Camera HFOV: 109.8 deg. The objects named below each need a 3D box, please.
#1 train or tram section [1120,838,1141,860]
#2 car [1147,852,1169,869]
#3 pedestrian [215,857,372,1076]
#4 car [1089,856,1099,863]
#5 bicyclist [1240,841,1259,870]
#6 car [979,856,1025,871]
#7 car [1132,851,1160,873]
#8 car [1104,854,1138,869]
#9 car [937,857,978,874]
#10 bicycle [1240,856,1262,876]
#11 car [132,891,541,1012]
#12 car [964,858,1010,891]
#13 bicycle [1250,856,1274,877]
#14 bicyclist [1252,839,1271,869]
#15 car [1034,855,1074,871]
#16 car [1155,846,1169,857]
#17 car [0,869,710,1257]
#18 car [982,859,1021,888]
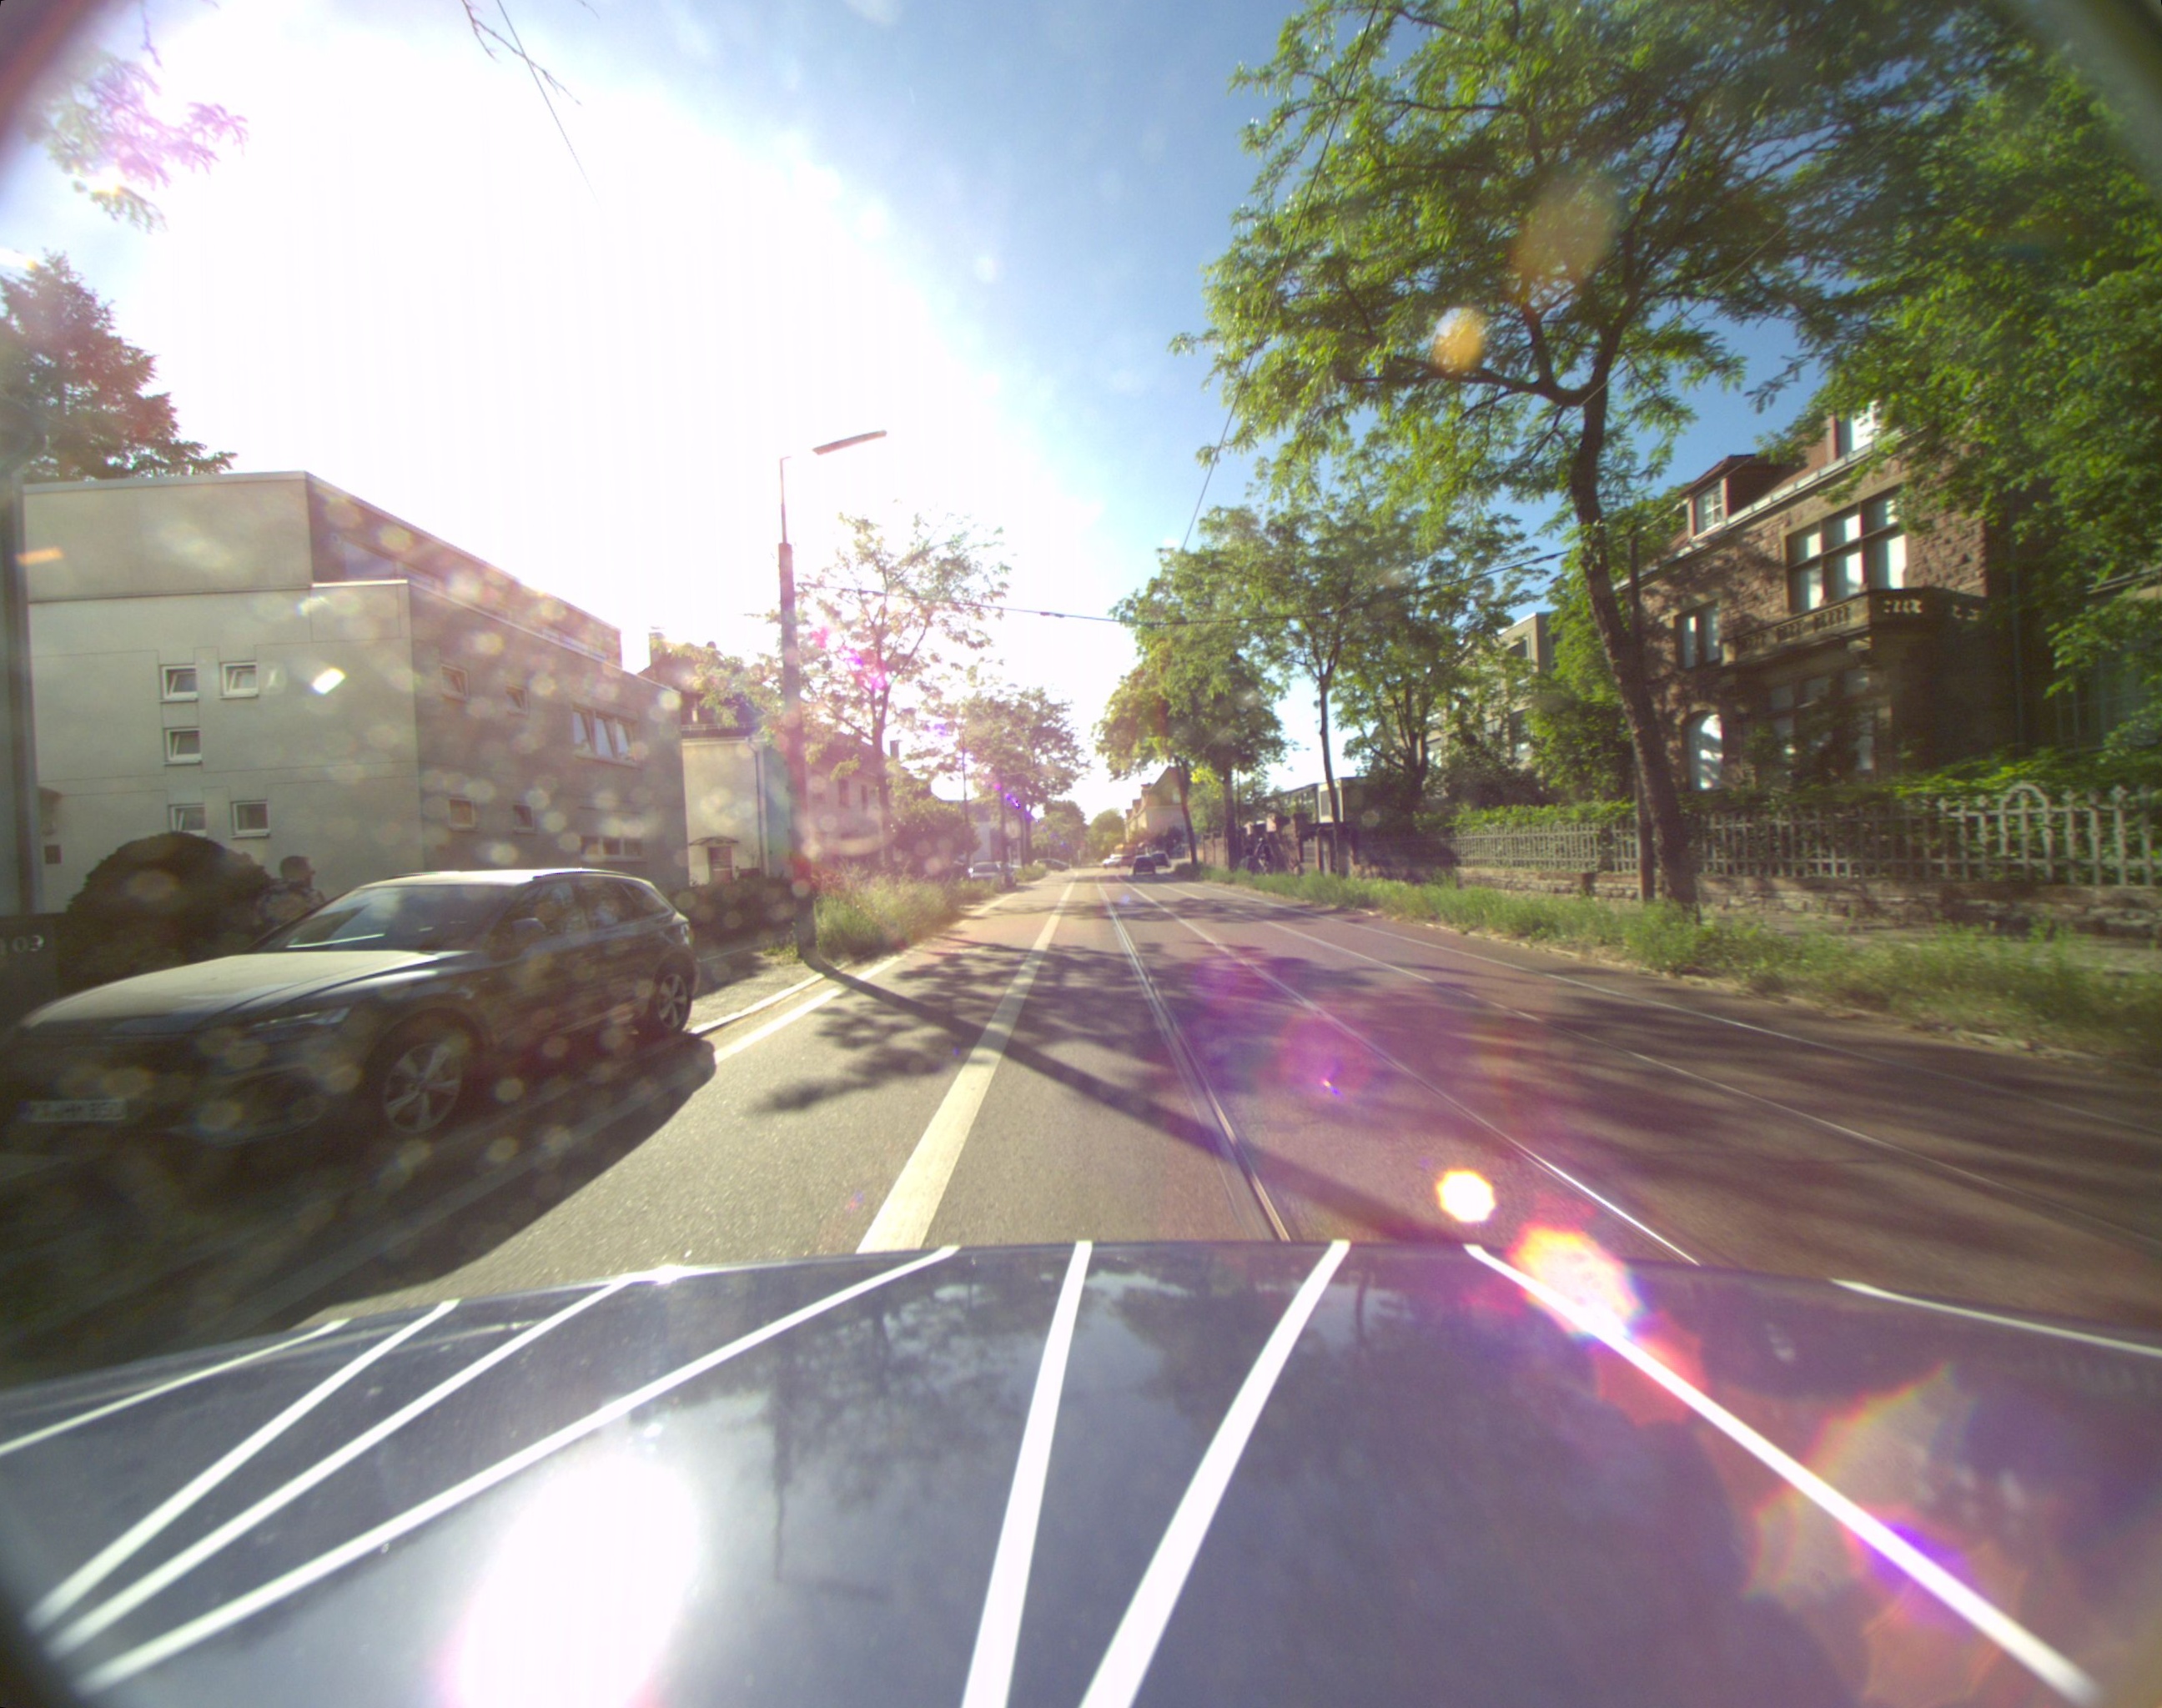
[{"bbox_3d":[8.153,-0.796,125.686,2.811,3.439,6.668,-3,0,1],"label":"train or tram section"},{"bbox_3d":[7.674,0.608,75.613,1.753,1.515,4.035,-3,0,0],"label":"car"},{"bbox_3d":[-7.039,0.960,6.829,0.627,1.859,0.732,0,1,0],"label":"pedestrian"},{"bbox_3d":[3.125,1.328,178.970,1.743,1.450,3.691,-3,0,-8],"label":"car"},{"bbox_3d":[9.119,0.062,41.092,0.711,1.490,0.956,-5,1,1],"label":"bicyclist"},{"bbox_3d":[-8.864,1.070,85.080,4.610,1.458,1.983,-3,2,12],"label":"car"},{"bbox_3d":[4.896,0.595,57.848,1.753,1.515,4.070,-3,0,0],"label":"car"},{"bbox_3d":[4.348,0.828,84.047,2.002,1.515,4.572,-3,0,-21],"label":"car"},{"bbox_3d":[-13.488,1.269,83.202,4.173,1.632,1.982,-3,0,-1],"label":"car"},{"bbox_3d":[9.172,0.614,41.106,0.720,0.968,1.888,-5,1,1],"label":"bicycle"},{"bbox_3d":[-10.587,1.344,11.063,4.061,1.335,1.877,-3,0,0],"label":"car"},{"bbox_3d":[-4.675,1.009,38.415,1.753,1.486,3.996,-2,0,0],"label":"car"},{"bbox_3d":[9.071,0.619,38.066,0.713,0.955,2.094,-3,0,2],"label":"bicycle"},{"bbox_3d":[9.041,0.018,38.077,0.710,1.462,1.041,-3,0,1],"label":"bicyclist"},{"bbox_3d":[-2.955,0.965,83.664,3.994,1.499,1.983,-3,0,10],"label":"car"},{"bbox_3d":[15.073,-0.466,141.846,1.998,1.954,4.934,-3,0,1],"label":"car"},{"bbox_3d":[-4.892,1.005,5.726,1.999,1.694,4.477,0,0,0],"label":"car"},{"bbox_3d":[-4.589,1.113,44.453,1.753,1.486,4.443,-2,0,0],"label":"car"}]
